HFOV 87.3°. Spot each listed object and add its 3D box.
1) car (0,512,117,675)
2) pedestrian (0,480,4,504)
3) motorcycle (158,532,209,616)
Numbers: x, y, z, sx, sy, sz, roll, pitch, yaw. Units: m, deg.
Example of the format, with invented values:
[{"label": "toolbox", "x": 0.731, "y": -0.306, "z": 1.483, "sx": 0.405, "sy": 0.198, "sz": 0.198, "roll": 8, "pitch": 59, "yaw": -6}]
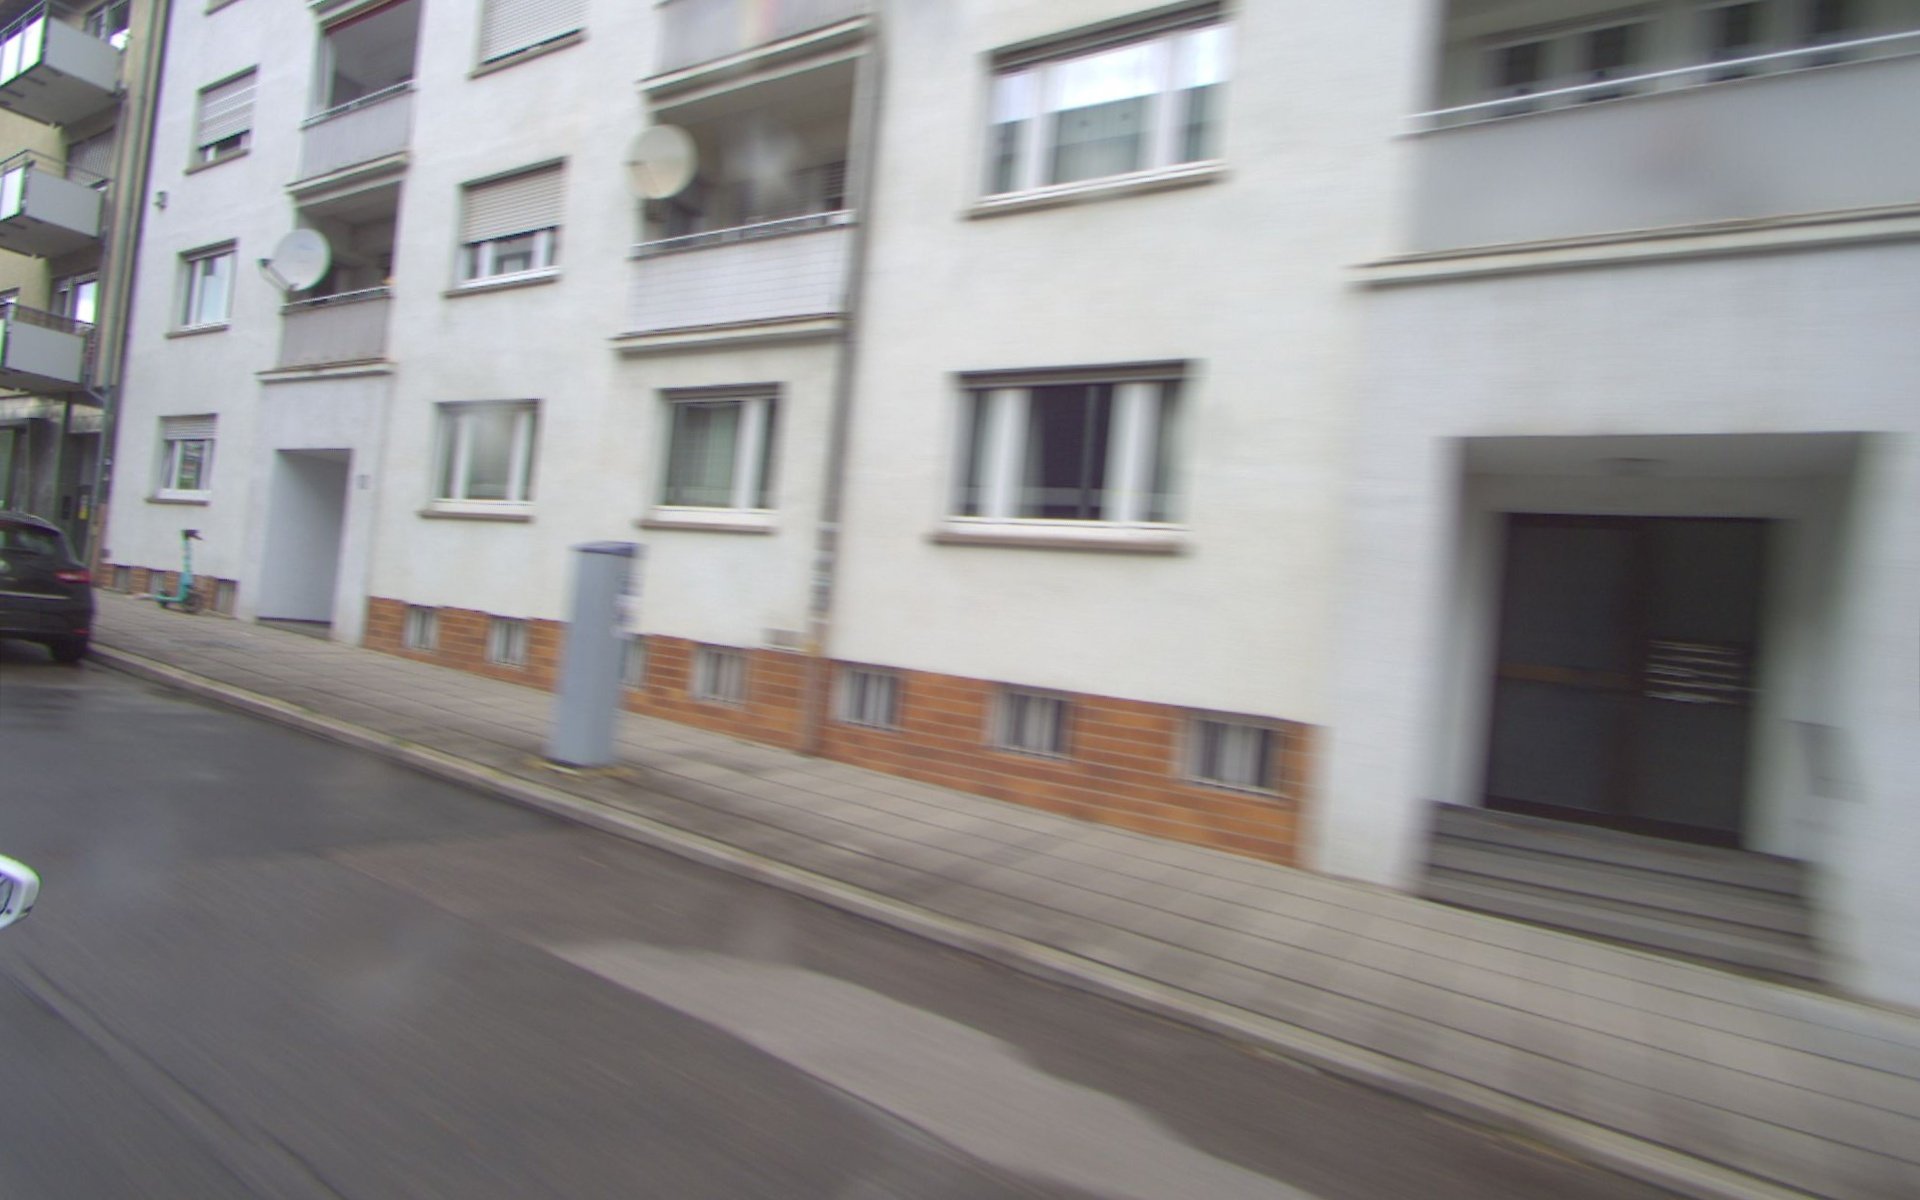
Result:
[{"label": "car", "x": -10.674, "y": -0.269, "z": 10.405, "sx": 3.918, "sy": 1.470, "sz": 1.710, "roll": 7, "pitch": -2, "yaw": 31}, {"label": "pedestrian", "x": -19.444, "y": -1.490, "z": 19.770, "sx": 0.530, "sy": 1.891, "sz": 0.640, "roll": 7, "pitch": -2, "yaw": 33}, {"label": "motorcycle", "x": -11.677, "y": -0.390, "z": 15.120, "sx": 0.768, "sy": 1.178, "sz": 0.253, "roll": 7, "pitch": -2, "yaw": 35}]
